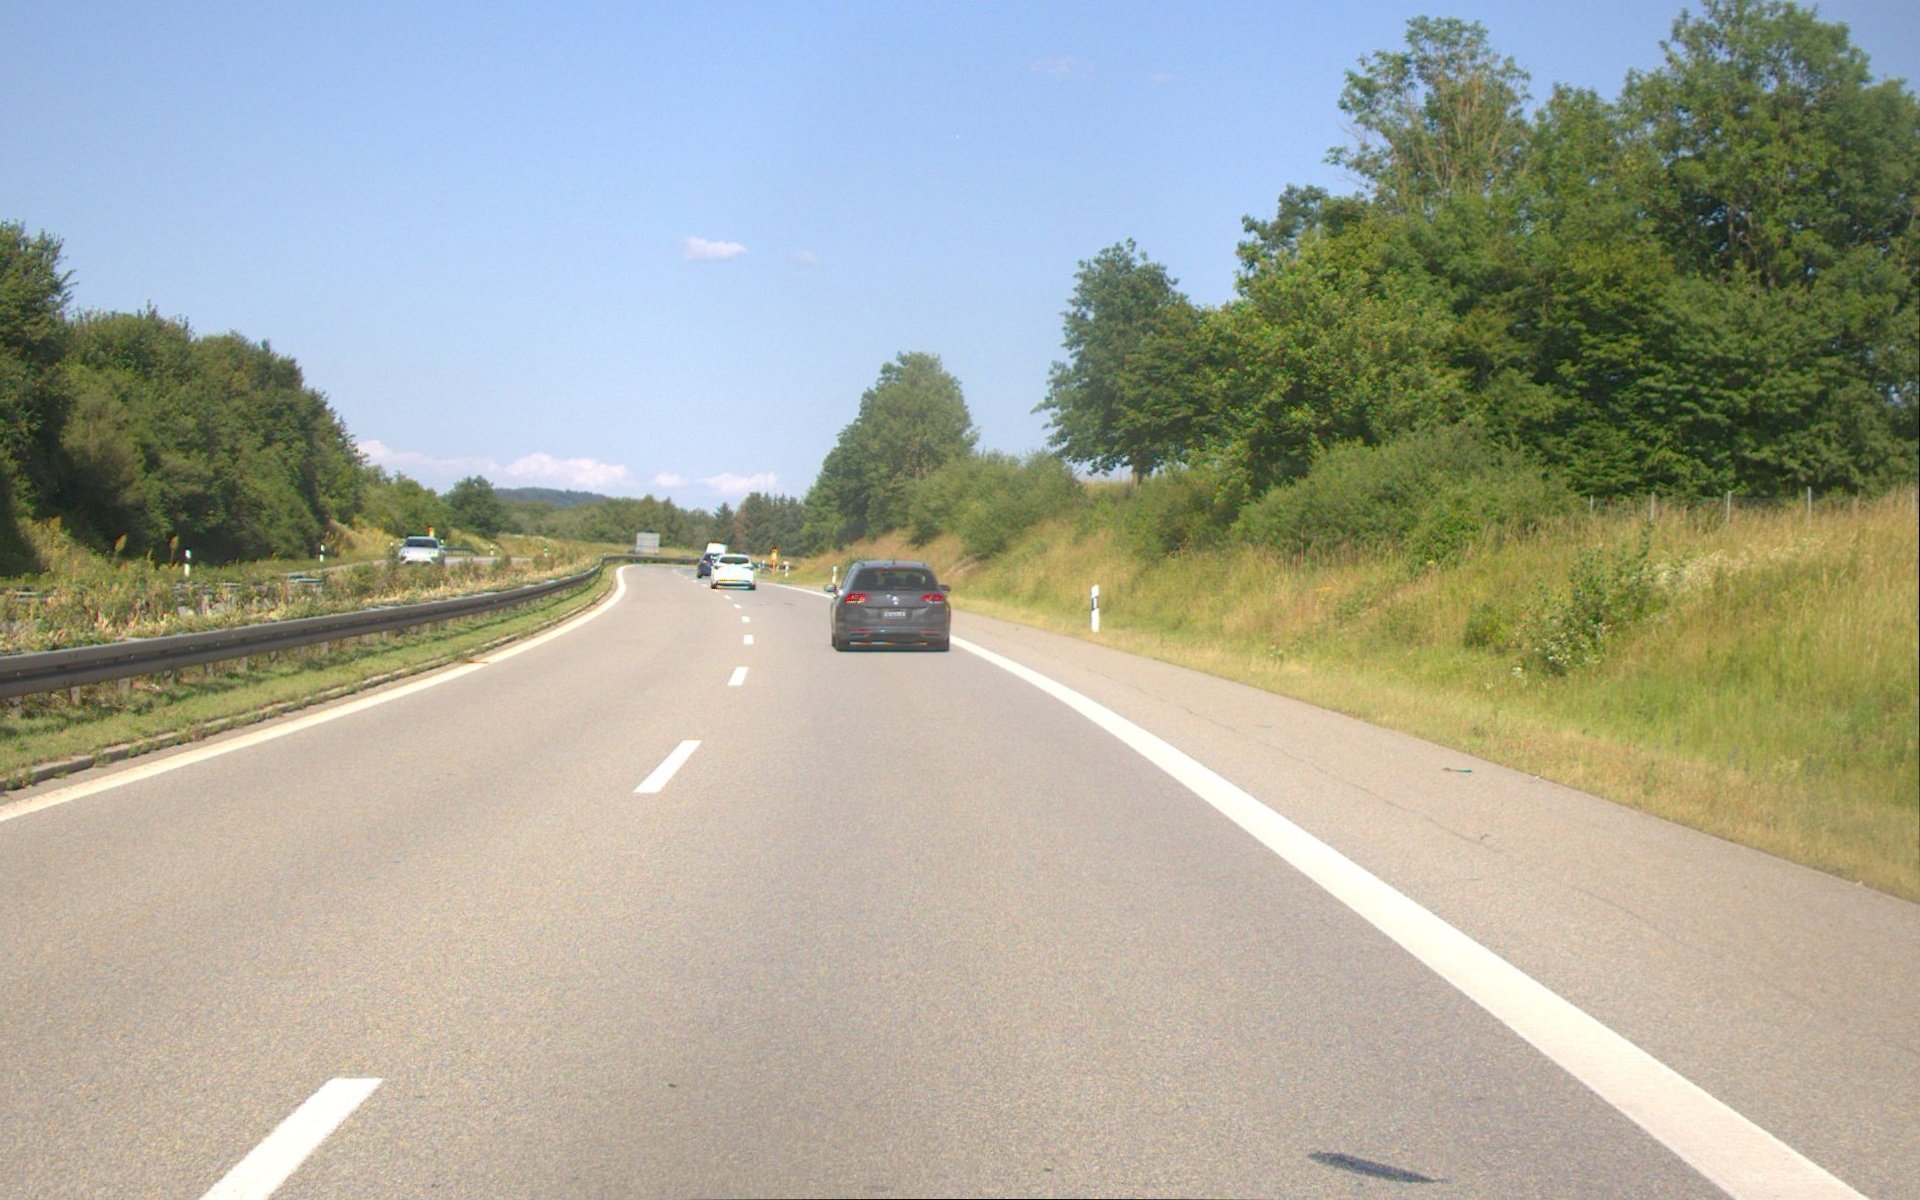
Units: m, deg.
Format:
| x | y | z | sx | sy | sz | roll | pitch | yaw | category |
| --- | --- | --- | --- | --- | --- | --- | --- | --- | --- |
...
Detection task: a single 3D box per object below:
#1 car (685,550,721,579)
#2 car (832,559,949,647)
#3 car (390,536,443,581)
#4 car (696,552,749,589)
| x | y | z | sx | sy | sz | roll | pitch | yaw | category |
| --- | --- | --- | --- | --- | --- | --- | --- | --- | --- |
| -14.288 | -1.982 | 191.187 | 1.710 | 1.382 | 3.355 | 6 | -1 | -2 | car |
| -1.138 | 0.022 | 54.705 | 1.791 | 1.340 | 4.000 | 0 | 1 | -2 | car |
| -25.060 | -1.895 | 158.656 | 1.993 | 2.007 | 4.856 | 1 | 1 | -4 | car |
| -9.561 | -1.173 | 138.297 | 2.007 | 1.340 | 4.000 | 3 | 0 | -4 | car |
